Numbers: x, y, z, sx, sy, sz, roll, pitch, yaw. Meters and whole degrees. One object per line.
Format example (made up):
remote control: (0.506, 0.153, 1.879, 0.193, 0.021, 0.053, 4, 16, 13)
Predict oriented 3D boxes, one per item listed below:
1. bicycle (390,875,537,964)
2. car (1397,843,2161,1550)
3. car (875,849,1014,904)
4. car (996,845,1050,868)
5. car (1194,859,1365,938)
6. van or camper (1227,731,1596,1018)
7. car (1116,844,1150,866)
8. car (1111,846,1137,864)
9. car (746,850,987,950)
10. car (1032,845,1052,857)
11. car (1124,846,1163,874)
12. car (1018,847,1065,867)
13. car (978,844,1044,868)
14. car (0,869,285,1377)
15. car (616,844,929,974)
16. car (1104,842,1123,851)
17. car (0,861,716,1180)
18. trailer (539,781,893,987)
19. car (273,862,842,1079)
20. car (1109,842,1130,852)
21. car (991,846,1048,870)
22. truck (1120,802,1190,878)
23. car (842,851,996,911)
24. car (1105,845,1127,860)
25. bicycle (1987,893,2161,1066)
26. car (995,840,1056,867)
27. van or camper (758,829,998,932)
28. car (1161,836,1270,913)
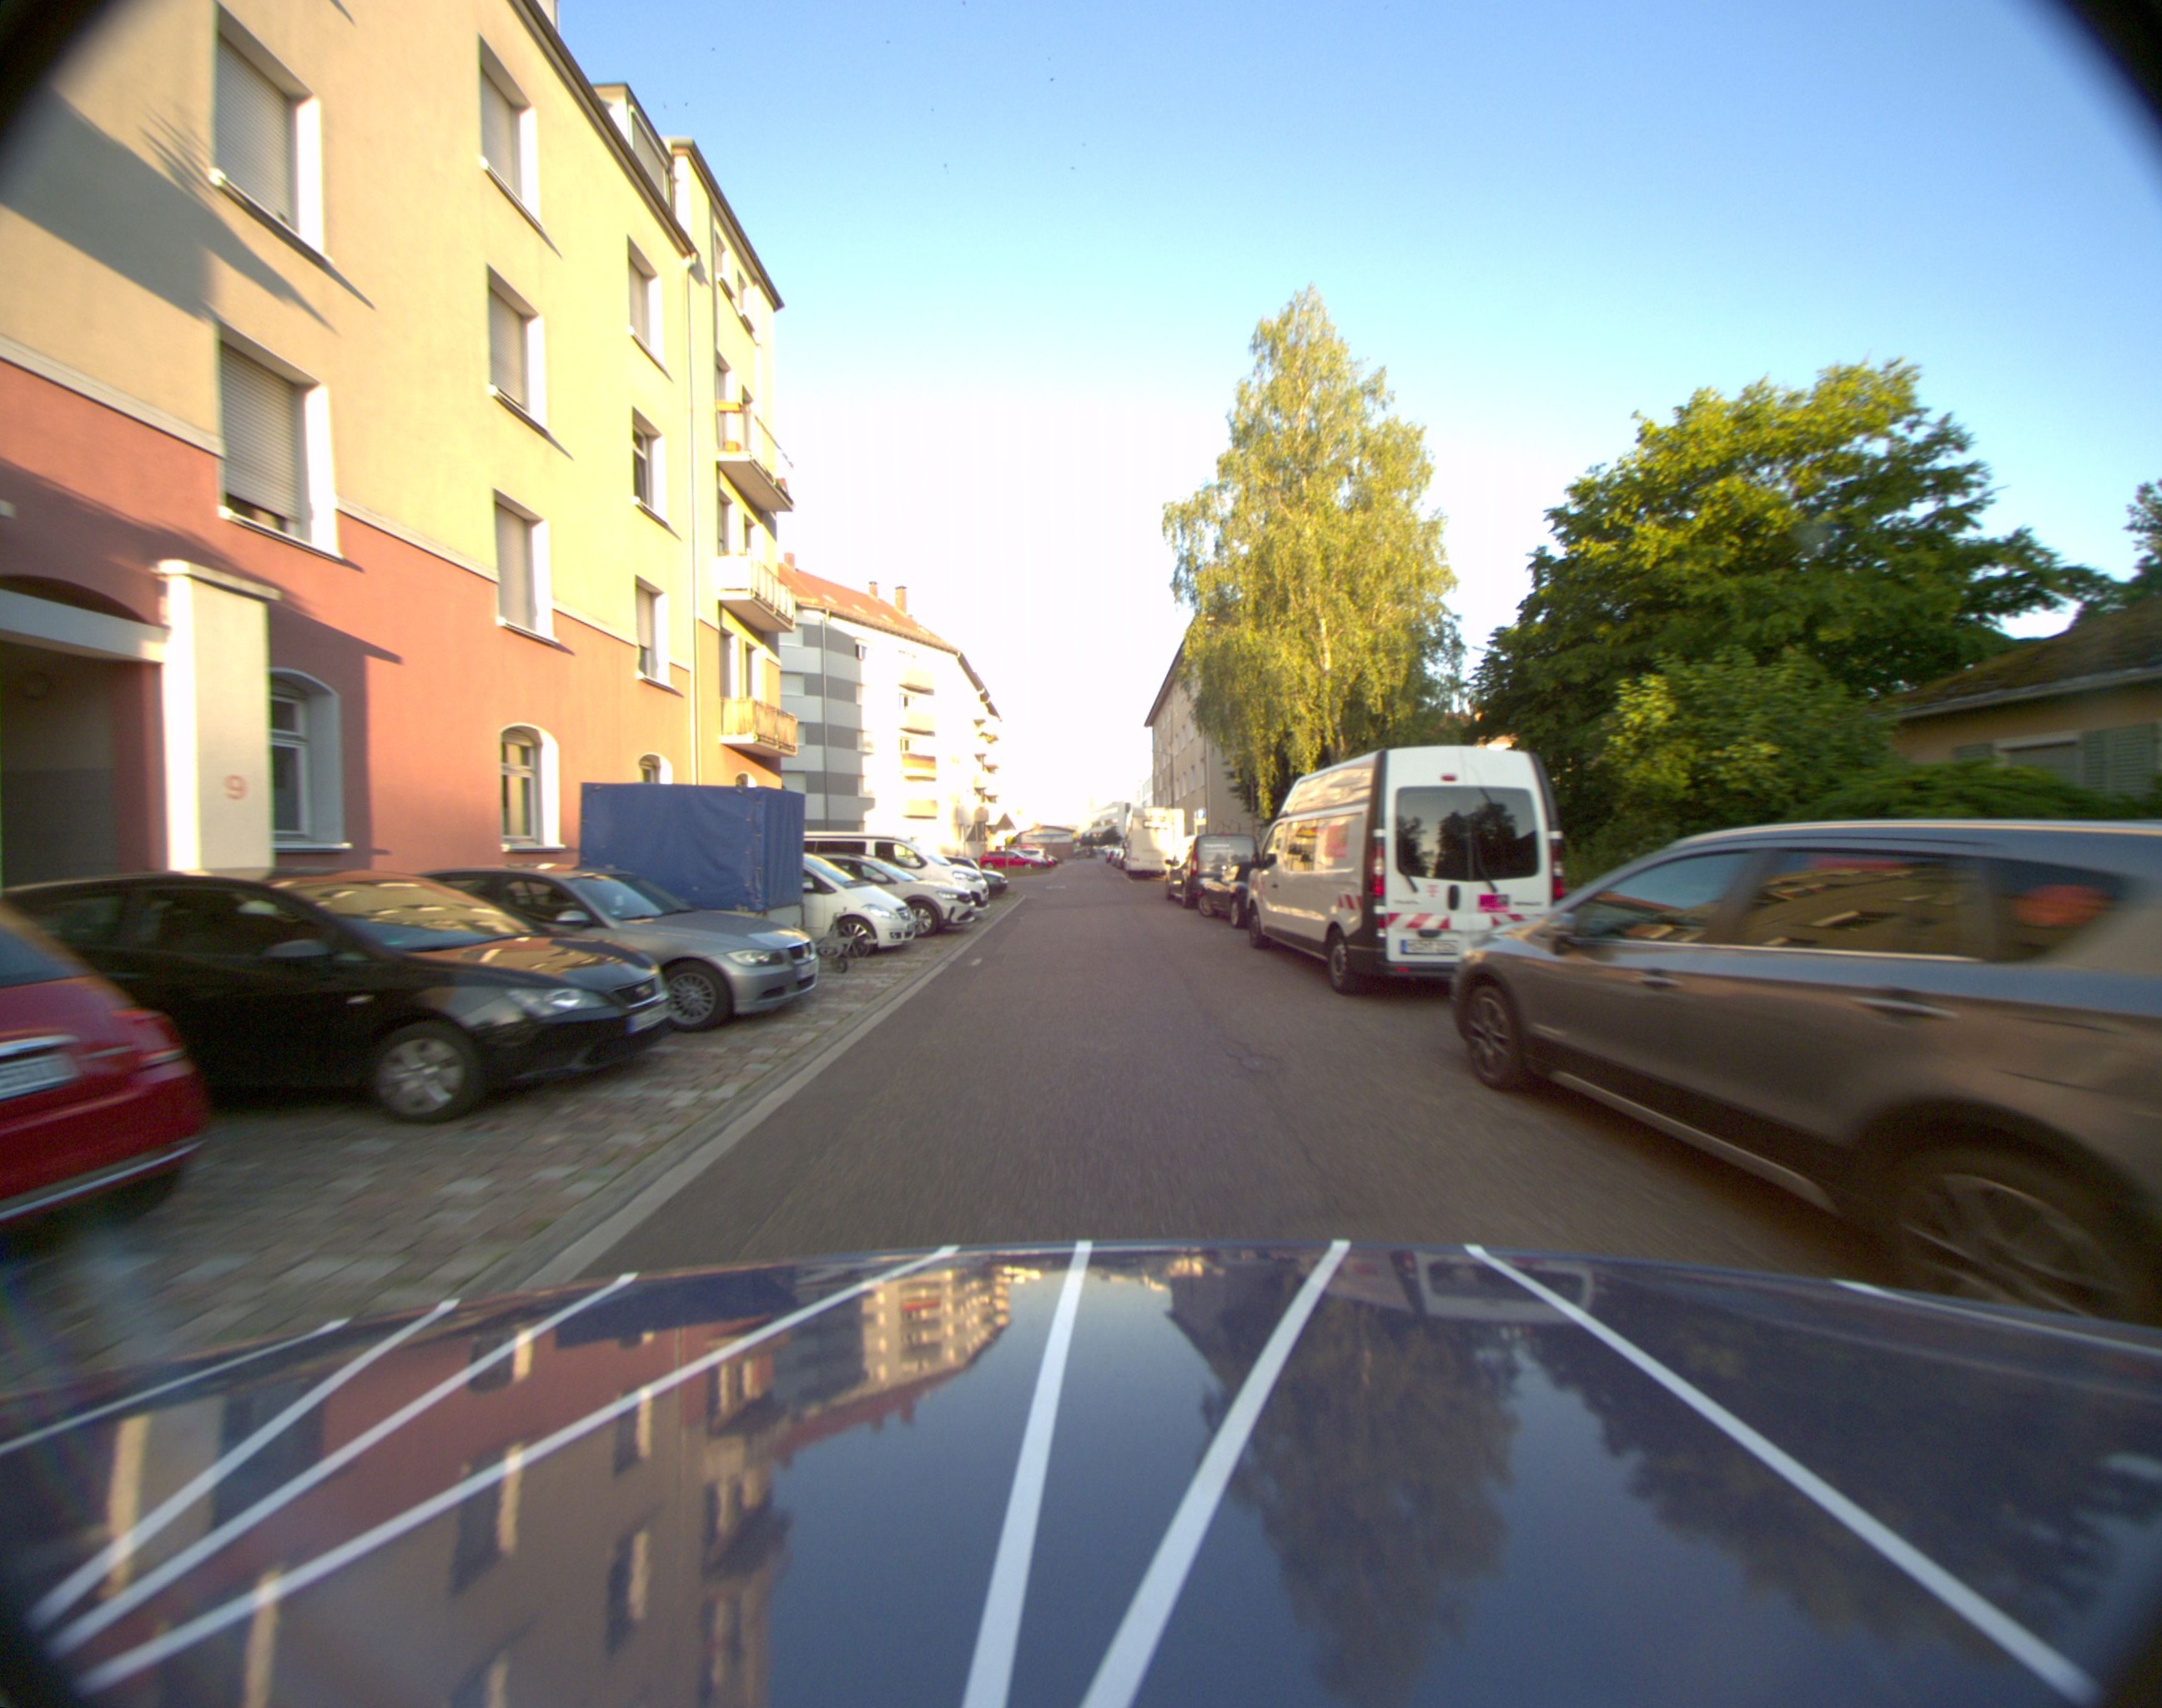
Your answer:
bicycle: (-8.653, 0.879, 10.767, 0.517, 1.054, 1.904, -2, 1, -1)
car: (3.405, 0.736, 3.422, 1.998, 1.510, 4.788, -2, 1, 1)
car: (-4.242, 0.687, 24.179, 4.113, 1.576, 1.854, -1, 1, -3)
car: (-4.389, 0.166, 57.811, 3.998, 1.619, 1.784, -1, 1, -2)
car: (3.670, 0.767, 14.867, 1.999, 1.182, 4.034, -2, 1, -5)
van or camper: (3.443, 0.144, 9.607, 1.998, 2.443, 6.082, -1, 1, 0)
car: (3.659, 0.044, 53.977, 1.999, 1.436, 4.430, -2, 1, -1)
car: (3.659, 0.047, 65.330, 1.792, 1.436, 4.430, -2, 1, -1)
car: (-3.917, 0.811, 14.495, 3.997, 1.631, 1.999, -1, 2, -2)
car: (-5.323, -0.356, 102.081, 2.000, 1.481, 4.427, -2, 1, -11)
car: (3.603, 0.300, 44.305, 1.911, 1.468, 4.909, 1, 1, 1)
car: (-3.566, 0.262, 68.478, 3.996, 1.674, 2.000, -1, 1, 3)
car: (-4.799, 0.153, 52.780, 4.311, 1.532, 1.923, -1, 1, 1)
car: (-5.341, 0.923, 2.385, 3.702, 1.601, 1.744, -1, 1, -2)
car: (-4.593, 0.778, 11.858, 3.997, 1.719, 1.999, -1, 2, -1)
car: (6.993, -1.594, 162.106, 3.997, 1.740, 2.000, -1, 1, 1)
car: (-4.805, 0.892, 4.898, 3.975, 1.563, 1.788, -1, 1, -3)
trailer: (-4.416, 0.345, 9.701, 3.577, 2.323, 1.940, 1, 1, -3)
car: (-4.584, 0.962, 7.237, 3.998, 1.628, 1.902, -1, 1, -3)
car: (7.420, -1.420, 145.972, 3.996, 1.805, 2.000, -1, 1, 2)
car: (-4.405, 0.270, 55.373, 3.998, 1.652, 1.999, -1, 1, -2)
truck: (3.456, -0.673, 37.485, 2.532, 3.334, 8.015, 1, 1, -1)
car: (-4.569, 0.742, 21.920, 3.997, 1.521, 1.999, -1, 1, -2)
car: (3.699, -0.207, 81.046, 1.999, 1.481, 4.430, -2, 1, -1)
bicycle: (6.738, 0.784, 4.463, 0.544, 0.959, 1.955, -2, 1, 2)
car: (-4.403, -0.054, 60.715, 4.685, 1.988, 2.000, -1, 1, 1)
van or camper: (-4.432, 0.547, 17.223, 4.846, 2.084, 2.040, -1, 1, -1)
car: (3.367, 0.443, 19.992, 1.915, 1.778, 4.948, 0, 1, -1)
